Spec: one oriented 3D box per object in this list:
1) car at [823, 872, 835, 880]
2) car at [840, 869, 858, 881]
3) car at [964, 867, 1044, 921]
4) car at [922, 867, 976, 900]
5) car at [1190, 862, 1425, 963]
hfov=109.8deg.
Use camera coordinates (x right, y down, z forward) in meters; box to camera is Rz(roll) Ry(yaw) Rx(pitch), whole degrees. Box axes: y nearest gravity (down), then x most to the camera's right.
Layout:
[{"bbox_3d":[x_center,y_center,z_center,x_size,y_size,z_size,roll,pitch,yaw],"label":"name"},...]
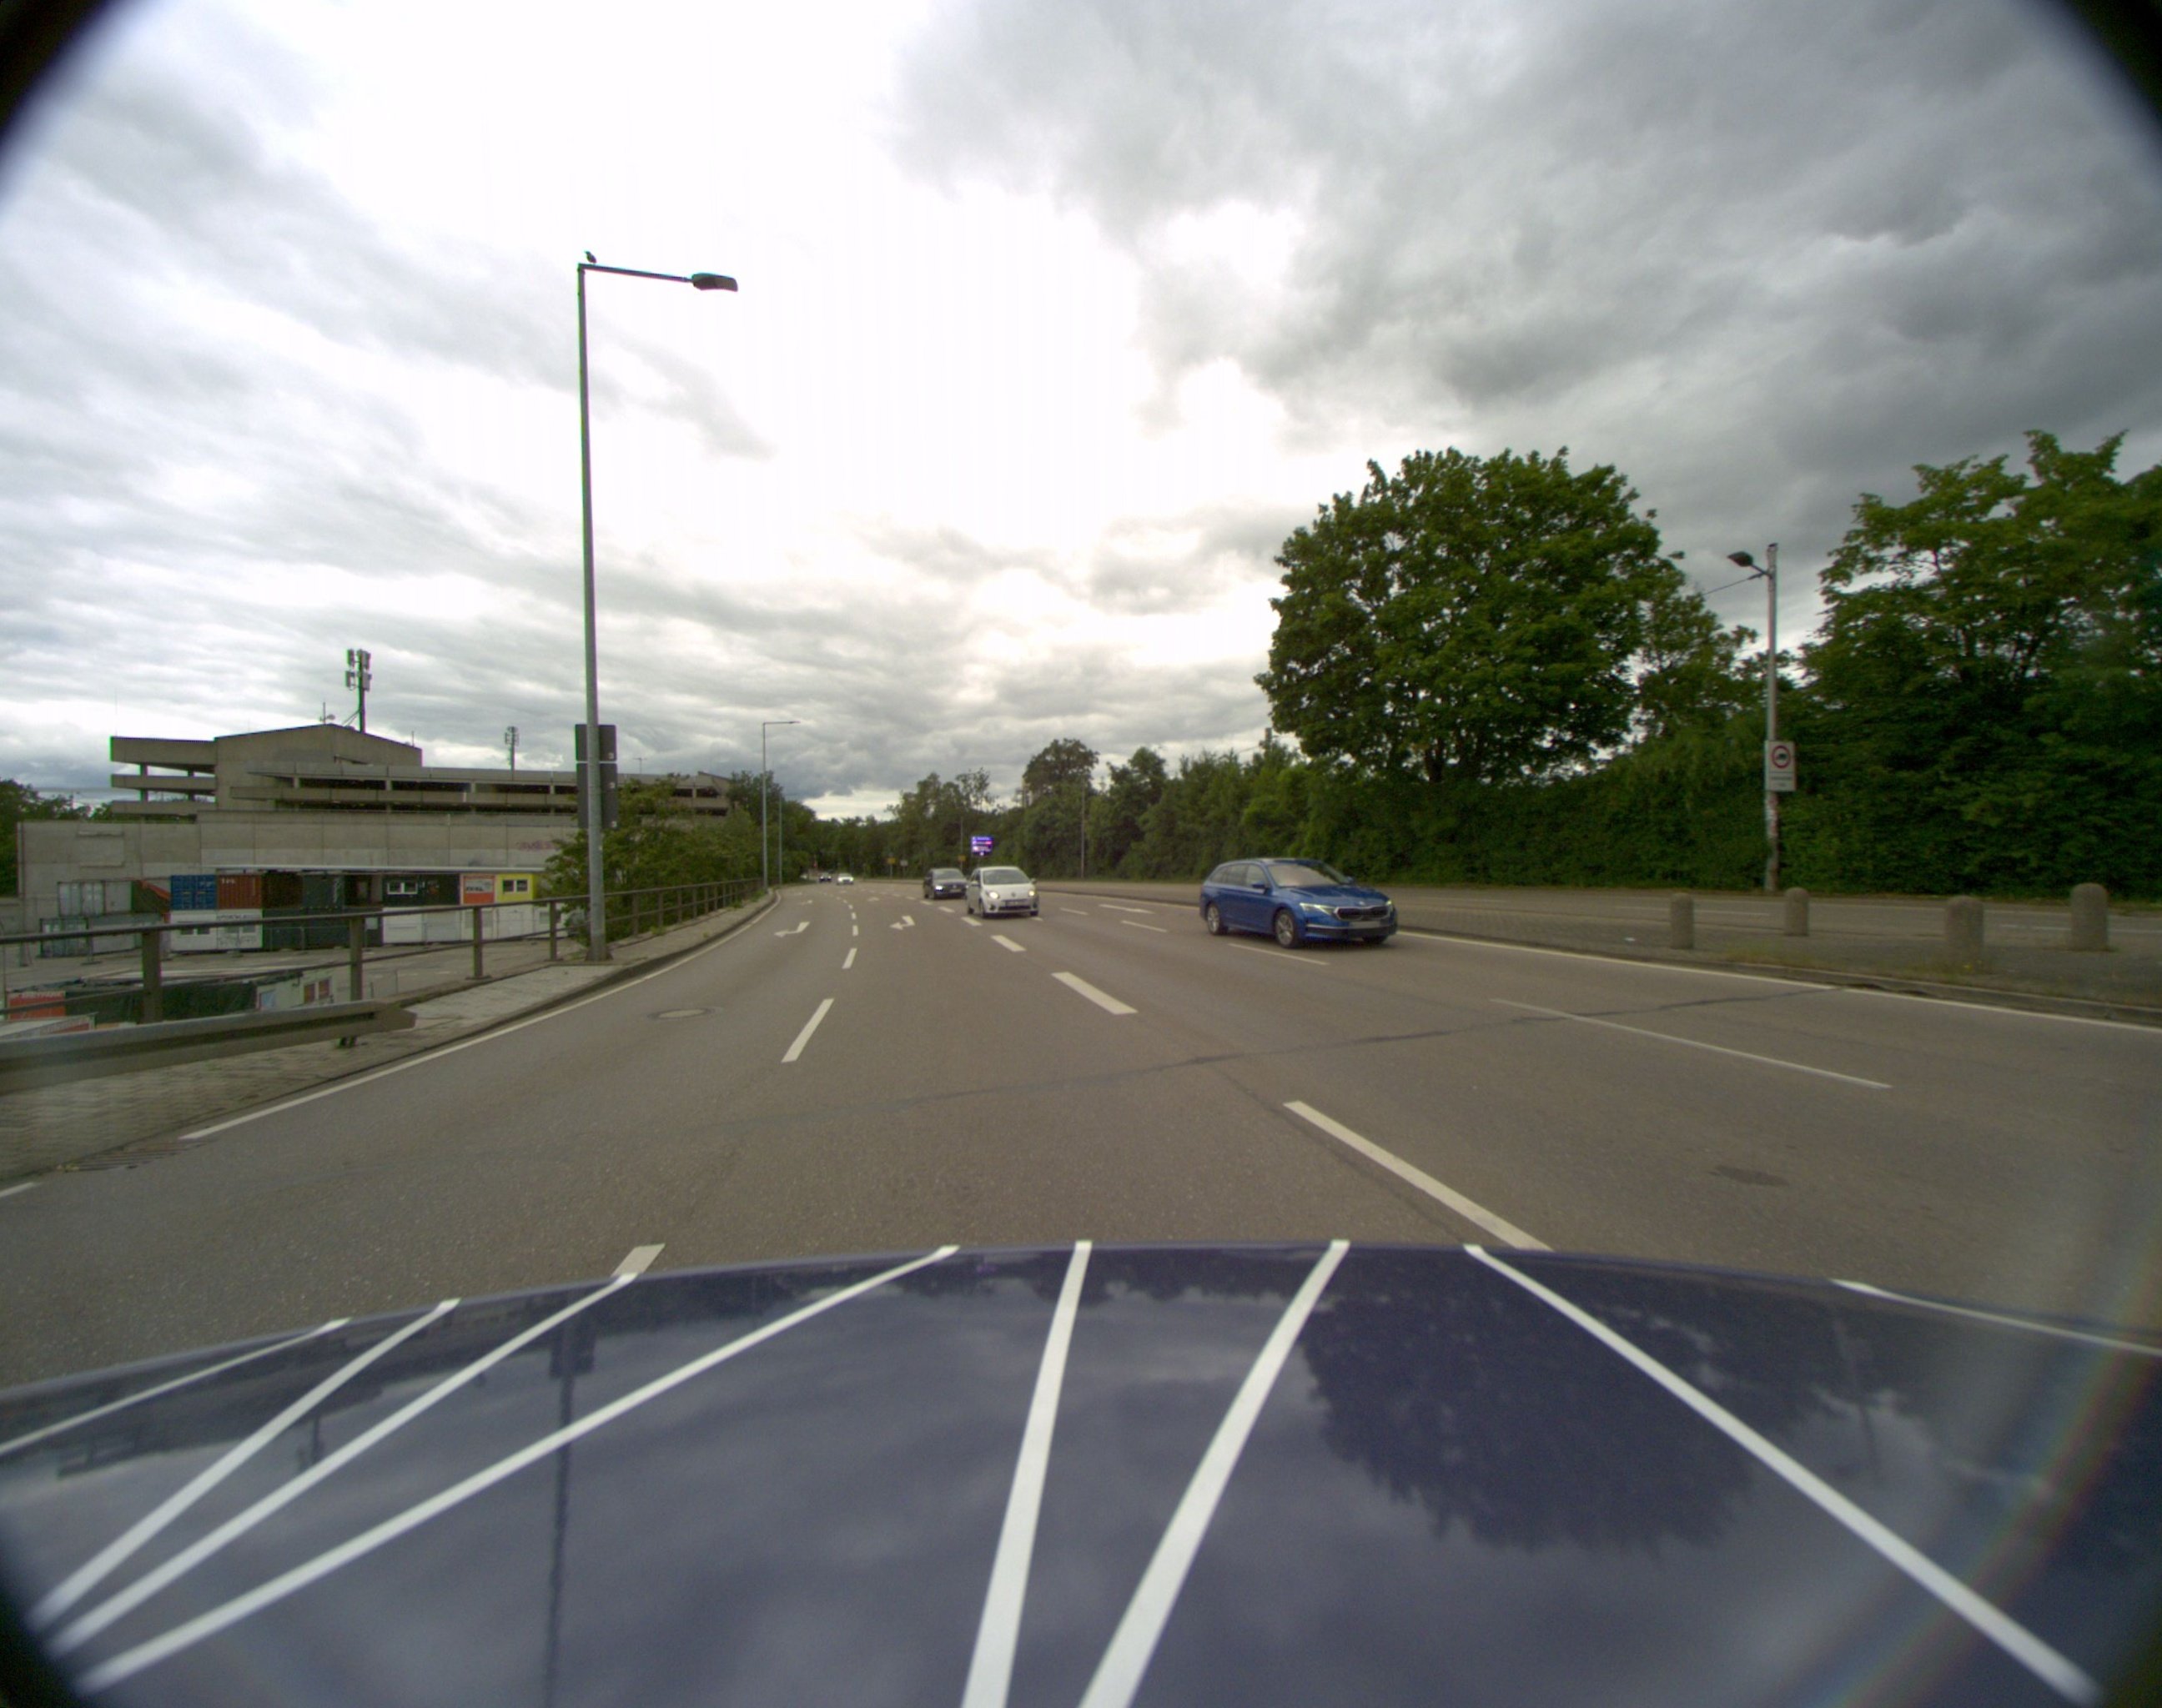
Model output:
[{"bbox_3d":[-45.045,3.946,135.786,1.868,1.408,4.331,-2,0,-21],"label":"car"},{"bbox_3d":[-29.019,2.594,94.961,1.867,1.408,4.332,-2,0,-20],"label":"car"},{"bbox_3d":[-2.361,1.128,22.563,1.611,1.408,3.586,-2,0,-18],"label":"car"},{"bbox_3d":[-6.320,1.358,36.078,1.867,1.408,4.332,-2,0,-19],"label":"car"},{"bbox_3d":[3.717,0.880,13.481,1.844,1.408,4.574,-2,0,-15],"label":"car"}]
